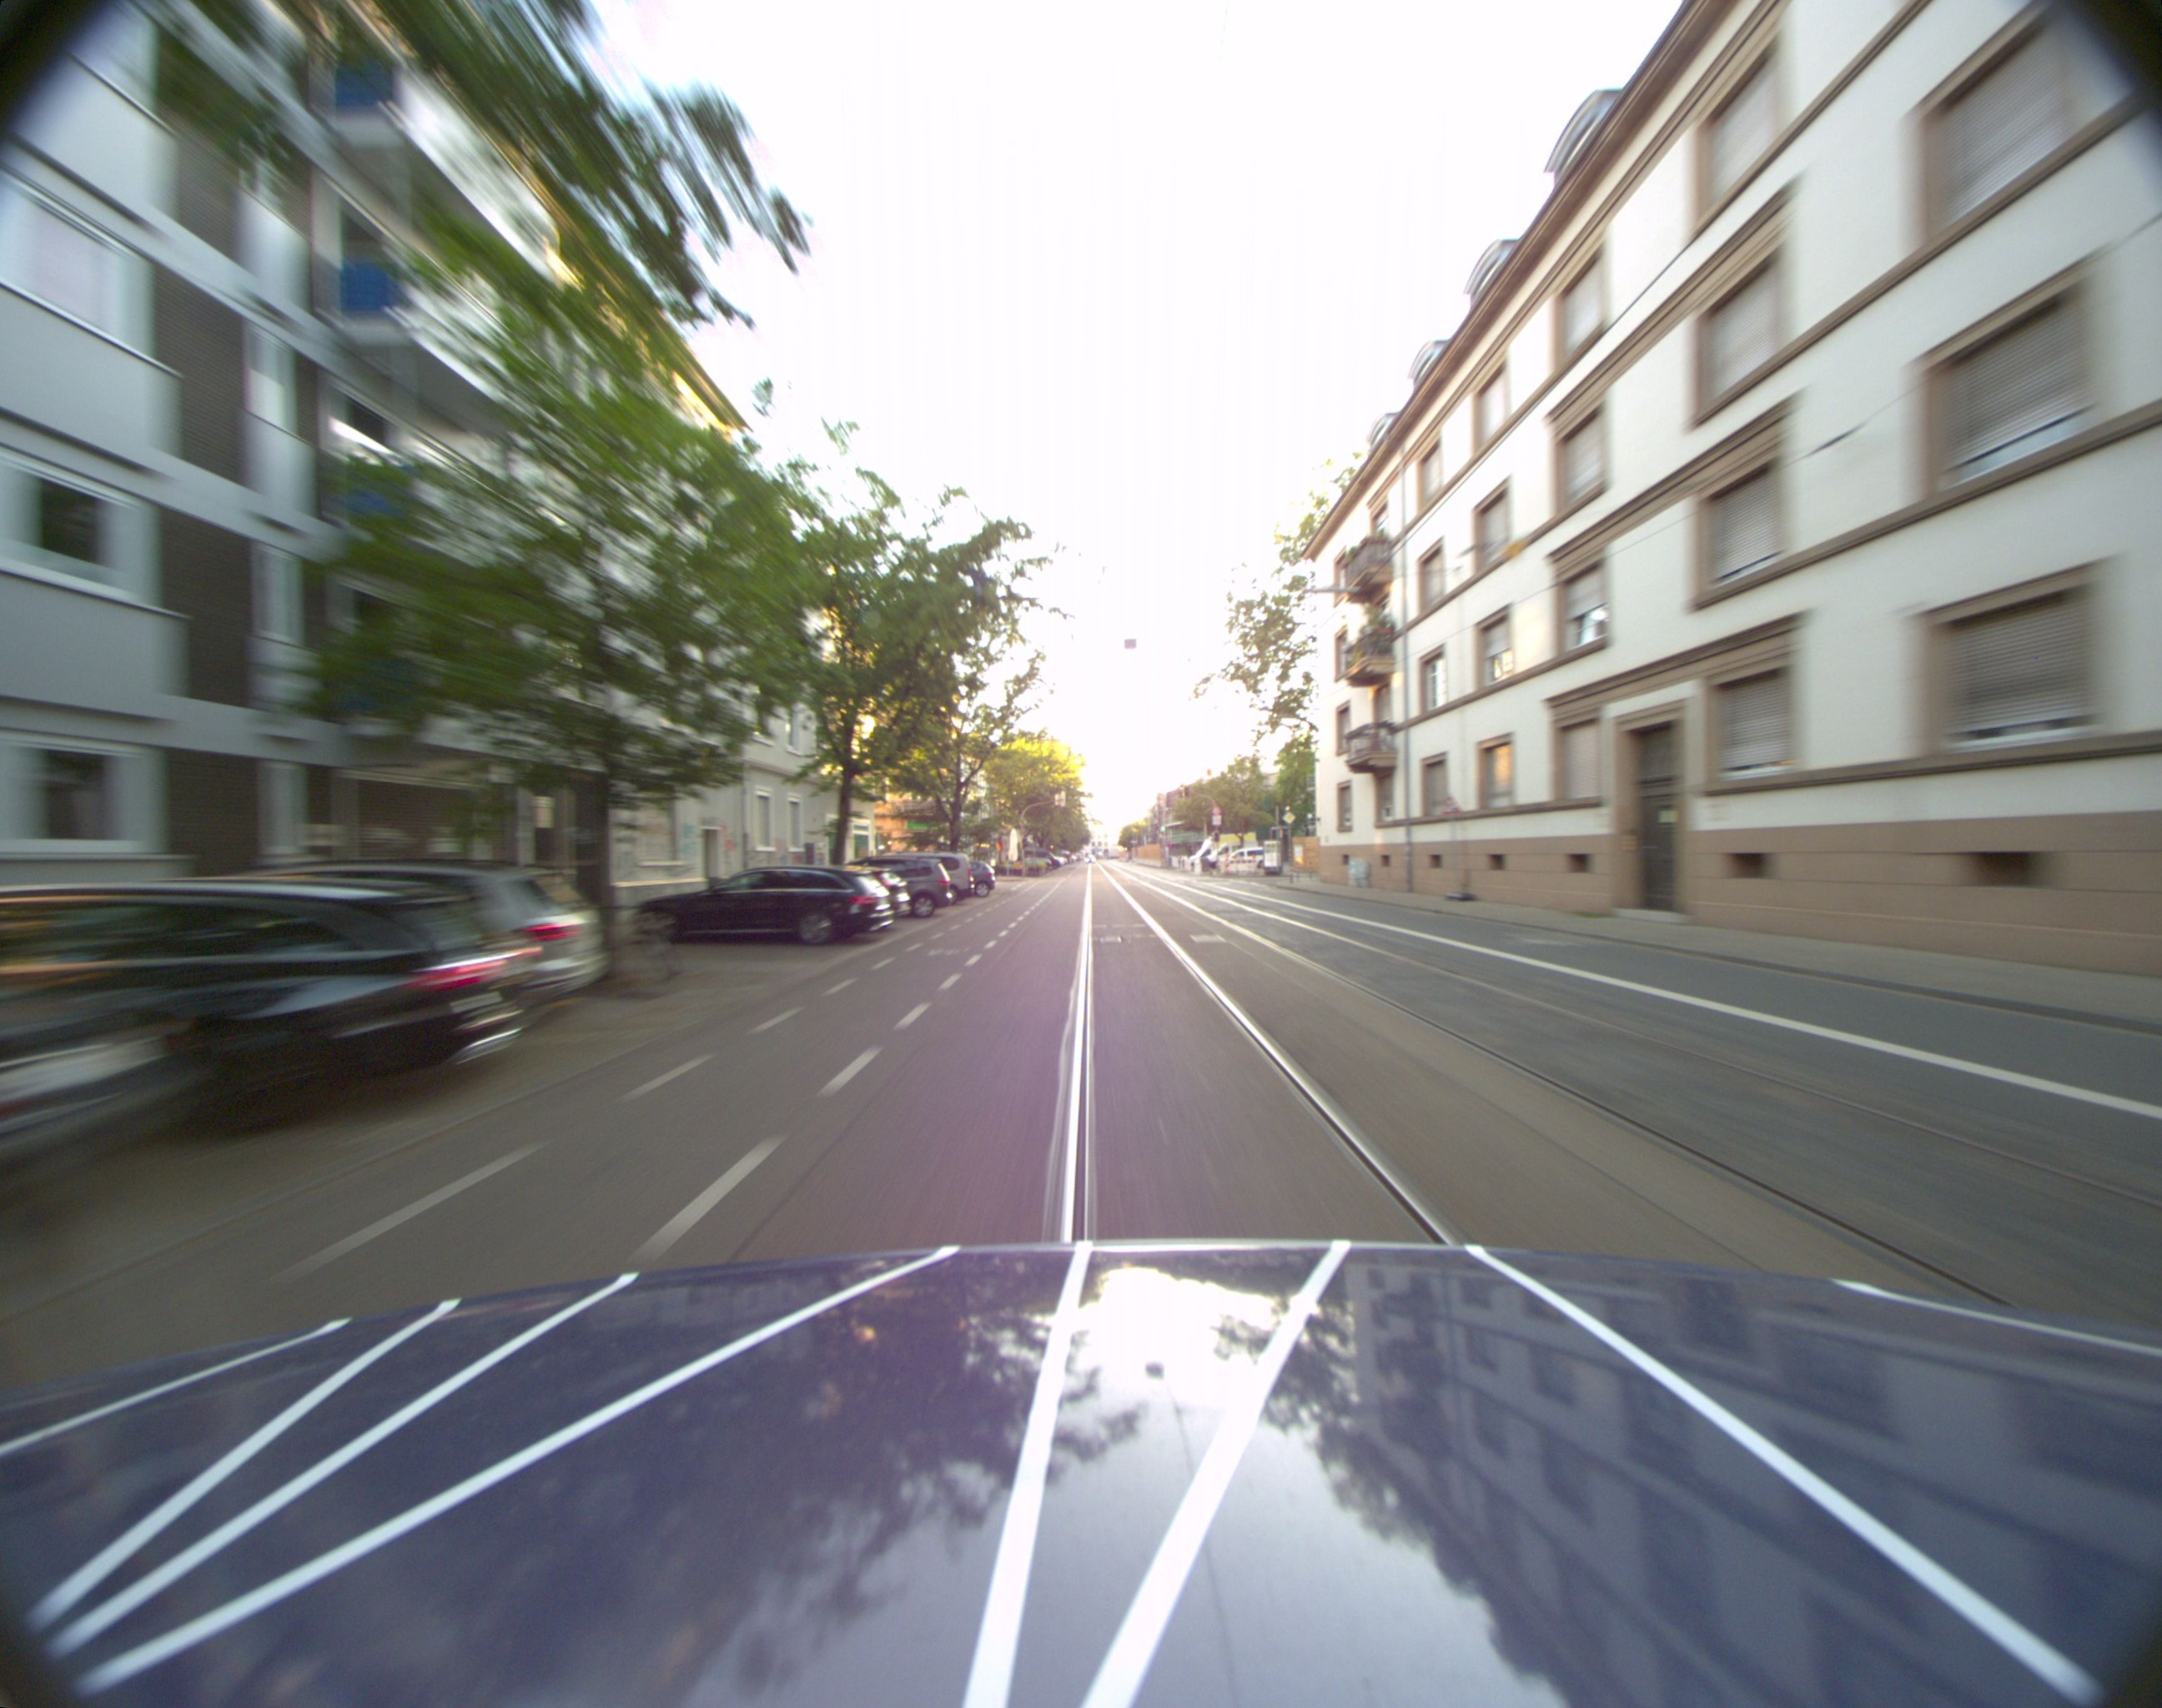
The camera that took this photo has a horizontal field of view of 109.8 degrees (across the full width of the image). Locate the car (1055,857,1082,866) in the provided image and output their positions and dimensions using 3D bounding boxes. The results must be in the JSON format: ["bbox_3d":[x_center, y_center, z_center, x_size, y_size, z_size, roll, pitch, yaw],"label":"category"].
[{"bbox_3d":[-2.038,1.210,122.430,3.997,1.566,1.720,0,-1,-14],"label":"car"}]

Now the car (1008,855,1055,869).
[{"bbox_3d":[-5.237,0.864,80.941,4.643,1.508,1.807,1,-1,-26],"label":"car"}]

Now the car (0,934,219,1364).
[{"bbox_3d":[-5.865,1.118,2.109,4.268,1.380,1.617,-1,0,-25],"label":"car"}]

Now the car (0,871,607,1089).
[{"bbox_3d":[-6.856,0.963,6.943,4.004,1.584,1.717,0,-1,-20],"label":"car"}]

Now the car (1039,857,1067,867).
[{"bbox_3d":[-4.218,1.218,114.850,3.997,1.566,1.720,0,-1,-14],"label":"car"}]

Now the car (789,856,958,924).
[{"bbox_3d":[-5.586,0.900,20.414,4.197,1.686,1.843,0,0,-21],"label":"car"}]

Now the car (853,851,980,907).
[{"bbox_3d":[-5.592,0.827,25.833,4.004,1.805,1.821,0,0,-20],"label":"car"}]

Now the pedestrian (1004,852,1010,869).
[{"bbox_3d":[-7.392,0.653,75.915,0.498,1.742,0.646,0,1,5],"label":"pedestrian"}]

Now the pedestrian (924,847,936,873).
[{"bbox_3d":[-10.472,0.435,52.722,0.558,1.821,0.613,-1,-2,38],"label":"pedestrian"}]

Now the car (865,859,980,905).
[{"bbox_3d":[-5.952,1.009,28.541,4.004,1.557,1.717,-1,0,-20],"label":"car"}]

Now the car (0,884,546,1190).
[{"bbox_3d":[-5.998,0.999,4.766,3.977,1.544,1.718,0,-1,-17],"label":"car"}]

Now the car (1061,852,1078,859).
[{"bbox_3d":[-2.695,0.468,183.235,3.991,1.681,1.722,0,-1,1],"label":"car"}]

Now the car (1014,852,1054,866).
[{"bbox_3d":[-5.210,0.586,83.860,4.121,1.444,1.808,0,-1,-15],"label":"car"}]

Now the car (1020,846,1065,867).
[{"bbox_3d":[-4.744,0.343,94.019,5.236,2.605,1.925,0,0,-16],"label":"car"}]

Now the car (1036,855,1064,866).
[{"bbox_3d":[-4.545,1.000,112.022,3.996,1.566,1.720,0,-1,-11],"label":"car"}]

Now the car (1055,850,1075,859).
[{"bbox_3d":[-3.309,0.118,157.827,3.997,1.952,1.720,0,-1,-14],"label":"car"}]

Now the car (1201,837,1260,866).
[{"bbox_3d":[14.671,-0.238,74.769,5.233,2.582,2.229,-2,0,-3],"label":"car"}]

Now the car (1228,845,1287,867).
[{"bbox_3d":[16.025,0.181,69.106,4.844,1.862,2.015,-2,0,2],"label":"car"}]

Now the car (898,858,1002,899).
[{"bbox_3d":[-5.439,0.984,31.399,4.003,1.531,1.776,-1,0,-18],"label":"car"}]

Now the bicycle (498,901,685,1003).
[{"bbox_3d":[-6.021,1.181,9.440,1.801,1.137,0.731,0,0,-7],"label":"bicycle"}]

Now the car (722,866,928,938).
[{"bbox_3d":[-5.611,1.006,16.802,3.993,1.455,1.722,0,0,13],"label":"car"}]

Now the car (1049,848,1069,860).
[{"bbox_3d":[-4.396,0.020,154.564,3.991,2.551,1.722,0,-1,1],"label":"car"}]

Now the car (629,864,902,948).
[{"bbox_3d":[-5.767,0.928,14.239,4.387,1.455,1.720,0,0,1],"label":"car"}]

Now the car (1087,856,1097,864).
[{"bbox_3d":[2.366,1.245,158.415,1.998,1.674,4.000,-2,0,1],"label":"car"}]

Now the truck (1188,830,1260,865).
[{"bbox_3d":[15.155,-0.682,80.696,7.077,3.408,2.566,-2,0,-2],"label":"truck"}]
